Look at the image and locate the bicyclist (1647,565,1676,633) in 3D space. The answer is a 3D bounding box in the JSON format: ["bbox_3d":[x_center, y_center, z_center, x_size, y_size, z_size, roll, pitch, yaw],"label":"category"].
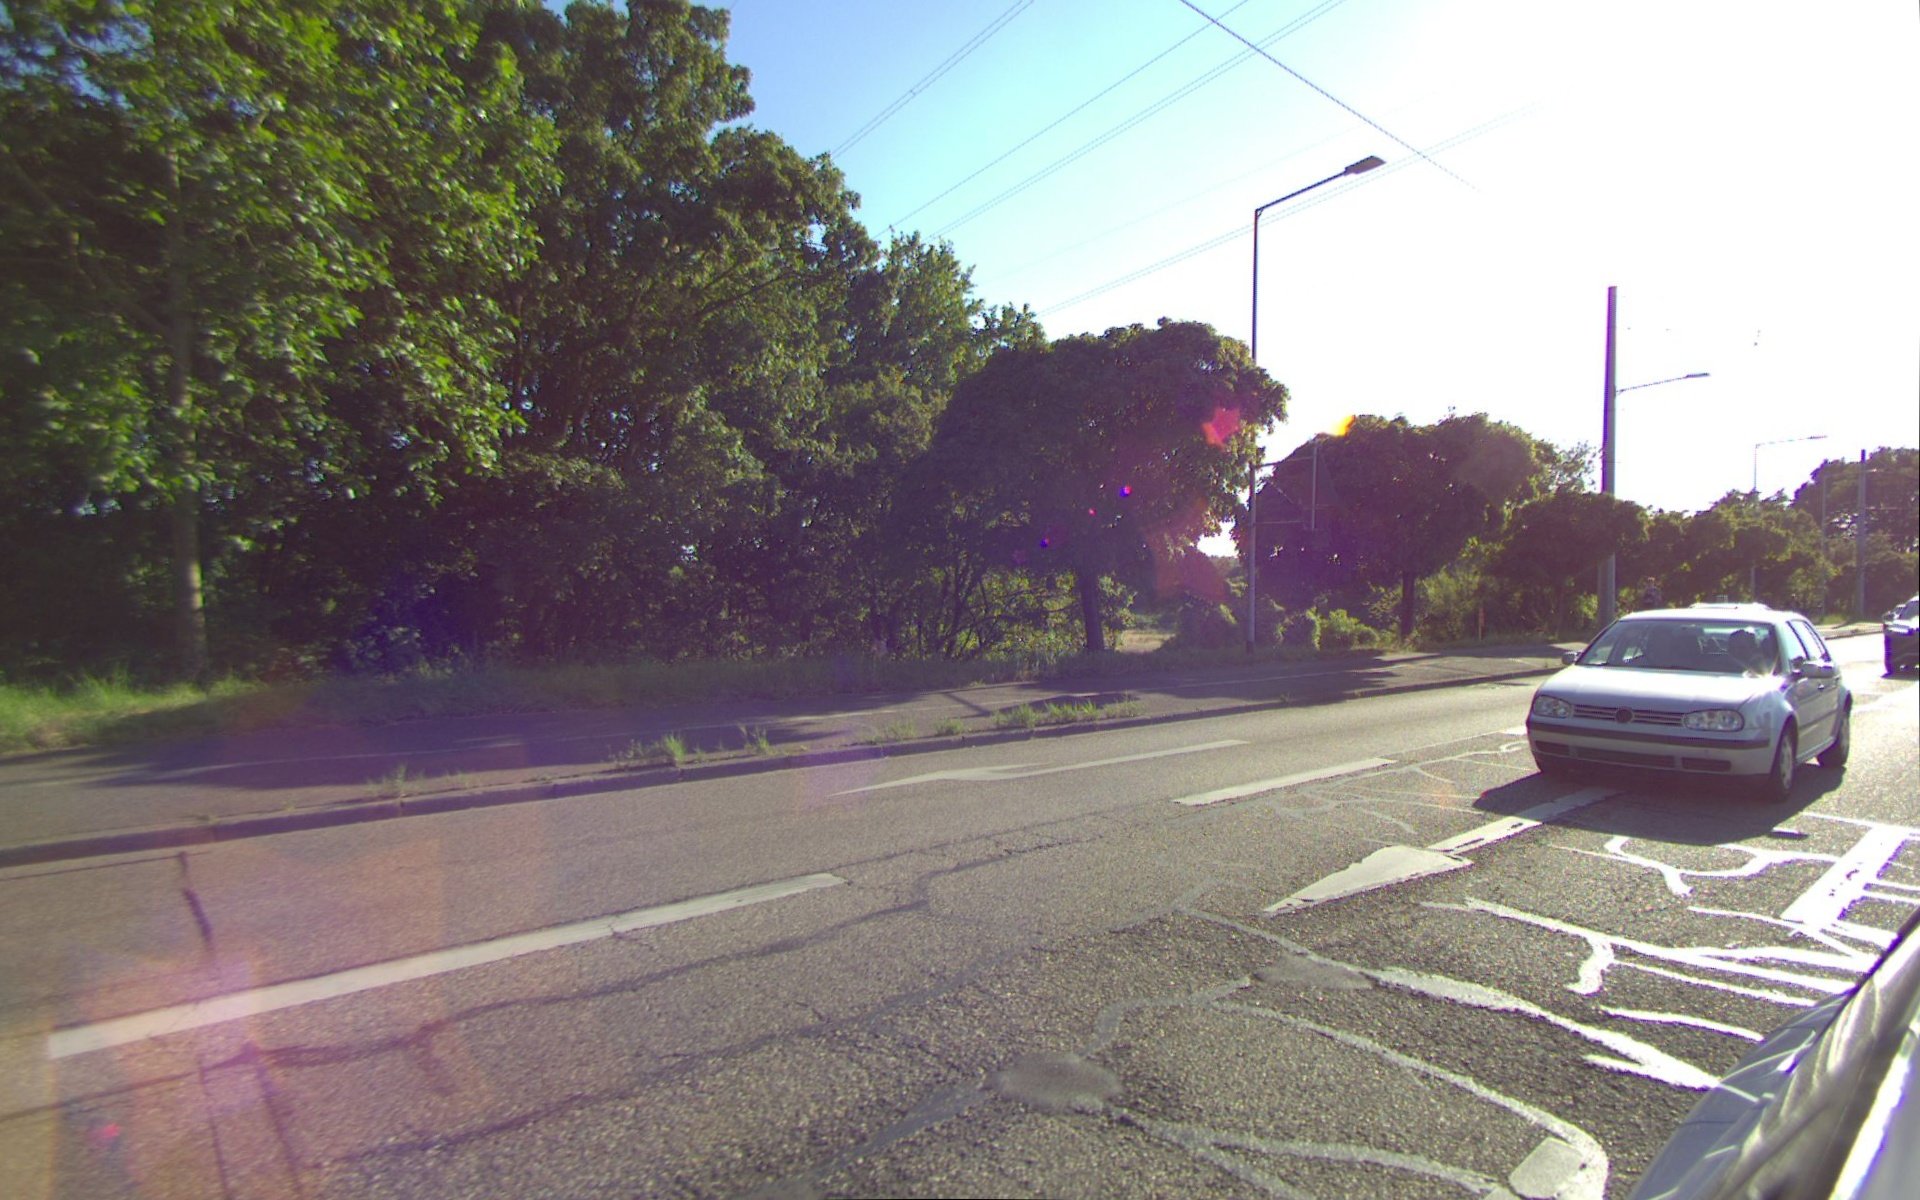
[{"bbox_3d":[21.320,-0.034,30.768,0.716,2.042,0.528,0,-1,-39],"label":"bicyclist"}]

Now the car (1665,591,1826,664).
[{"bbox_3d":[17.916,0.540,23.007,4.575,1.461,1.881,-1,1,-39],"label":"car"}]

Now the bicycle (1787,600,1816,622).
[{"bbox_3d":[36.331,0.471,43.684,1.605,0.844,0.629,-1,5,-39],"label":"bicycle"}]

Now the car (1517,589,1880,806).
[{"bbox_3d":[6.624,0.656,8.926,3.930,1.463,1.694,-1,1,-40],"label":"car"}]

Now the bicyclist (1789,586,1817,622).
[{"bbox_3d":[36.392,0.143,43.698,1.041,1.488,0.628,0,5,-39],"label":"bicyclist"}]

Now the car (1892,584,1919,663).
[{"bbox_3d":[21.608,0.465,21.657,4.338,1.620,1.881,-1,1,-39],"label":"car"}]

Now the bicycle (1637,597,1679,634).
[{"bbox_3d":[21.105,0.459,30.576,1.936,1.074,0.528,-1,0,-40],"label":"bicycle"}]
